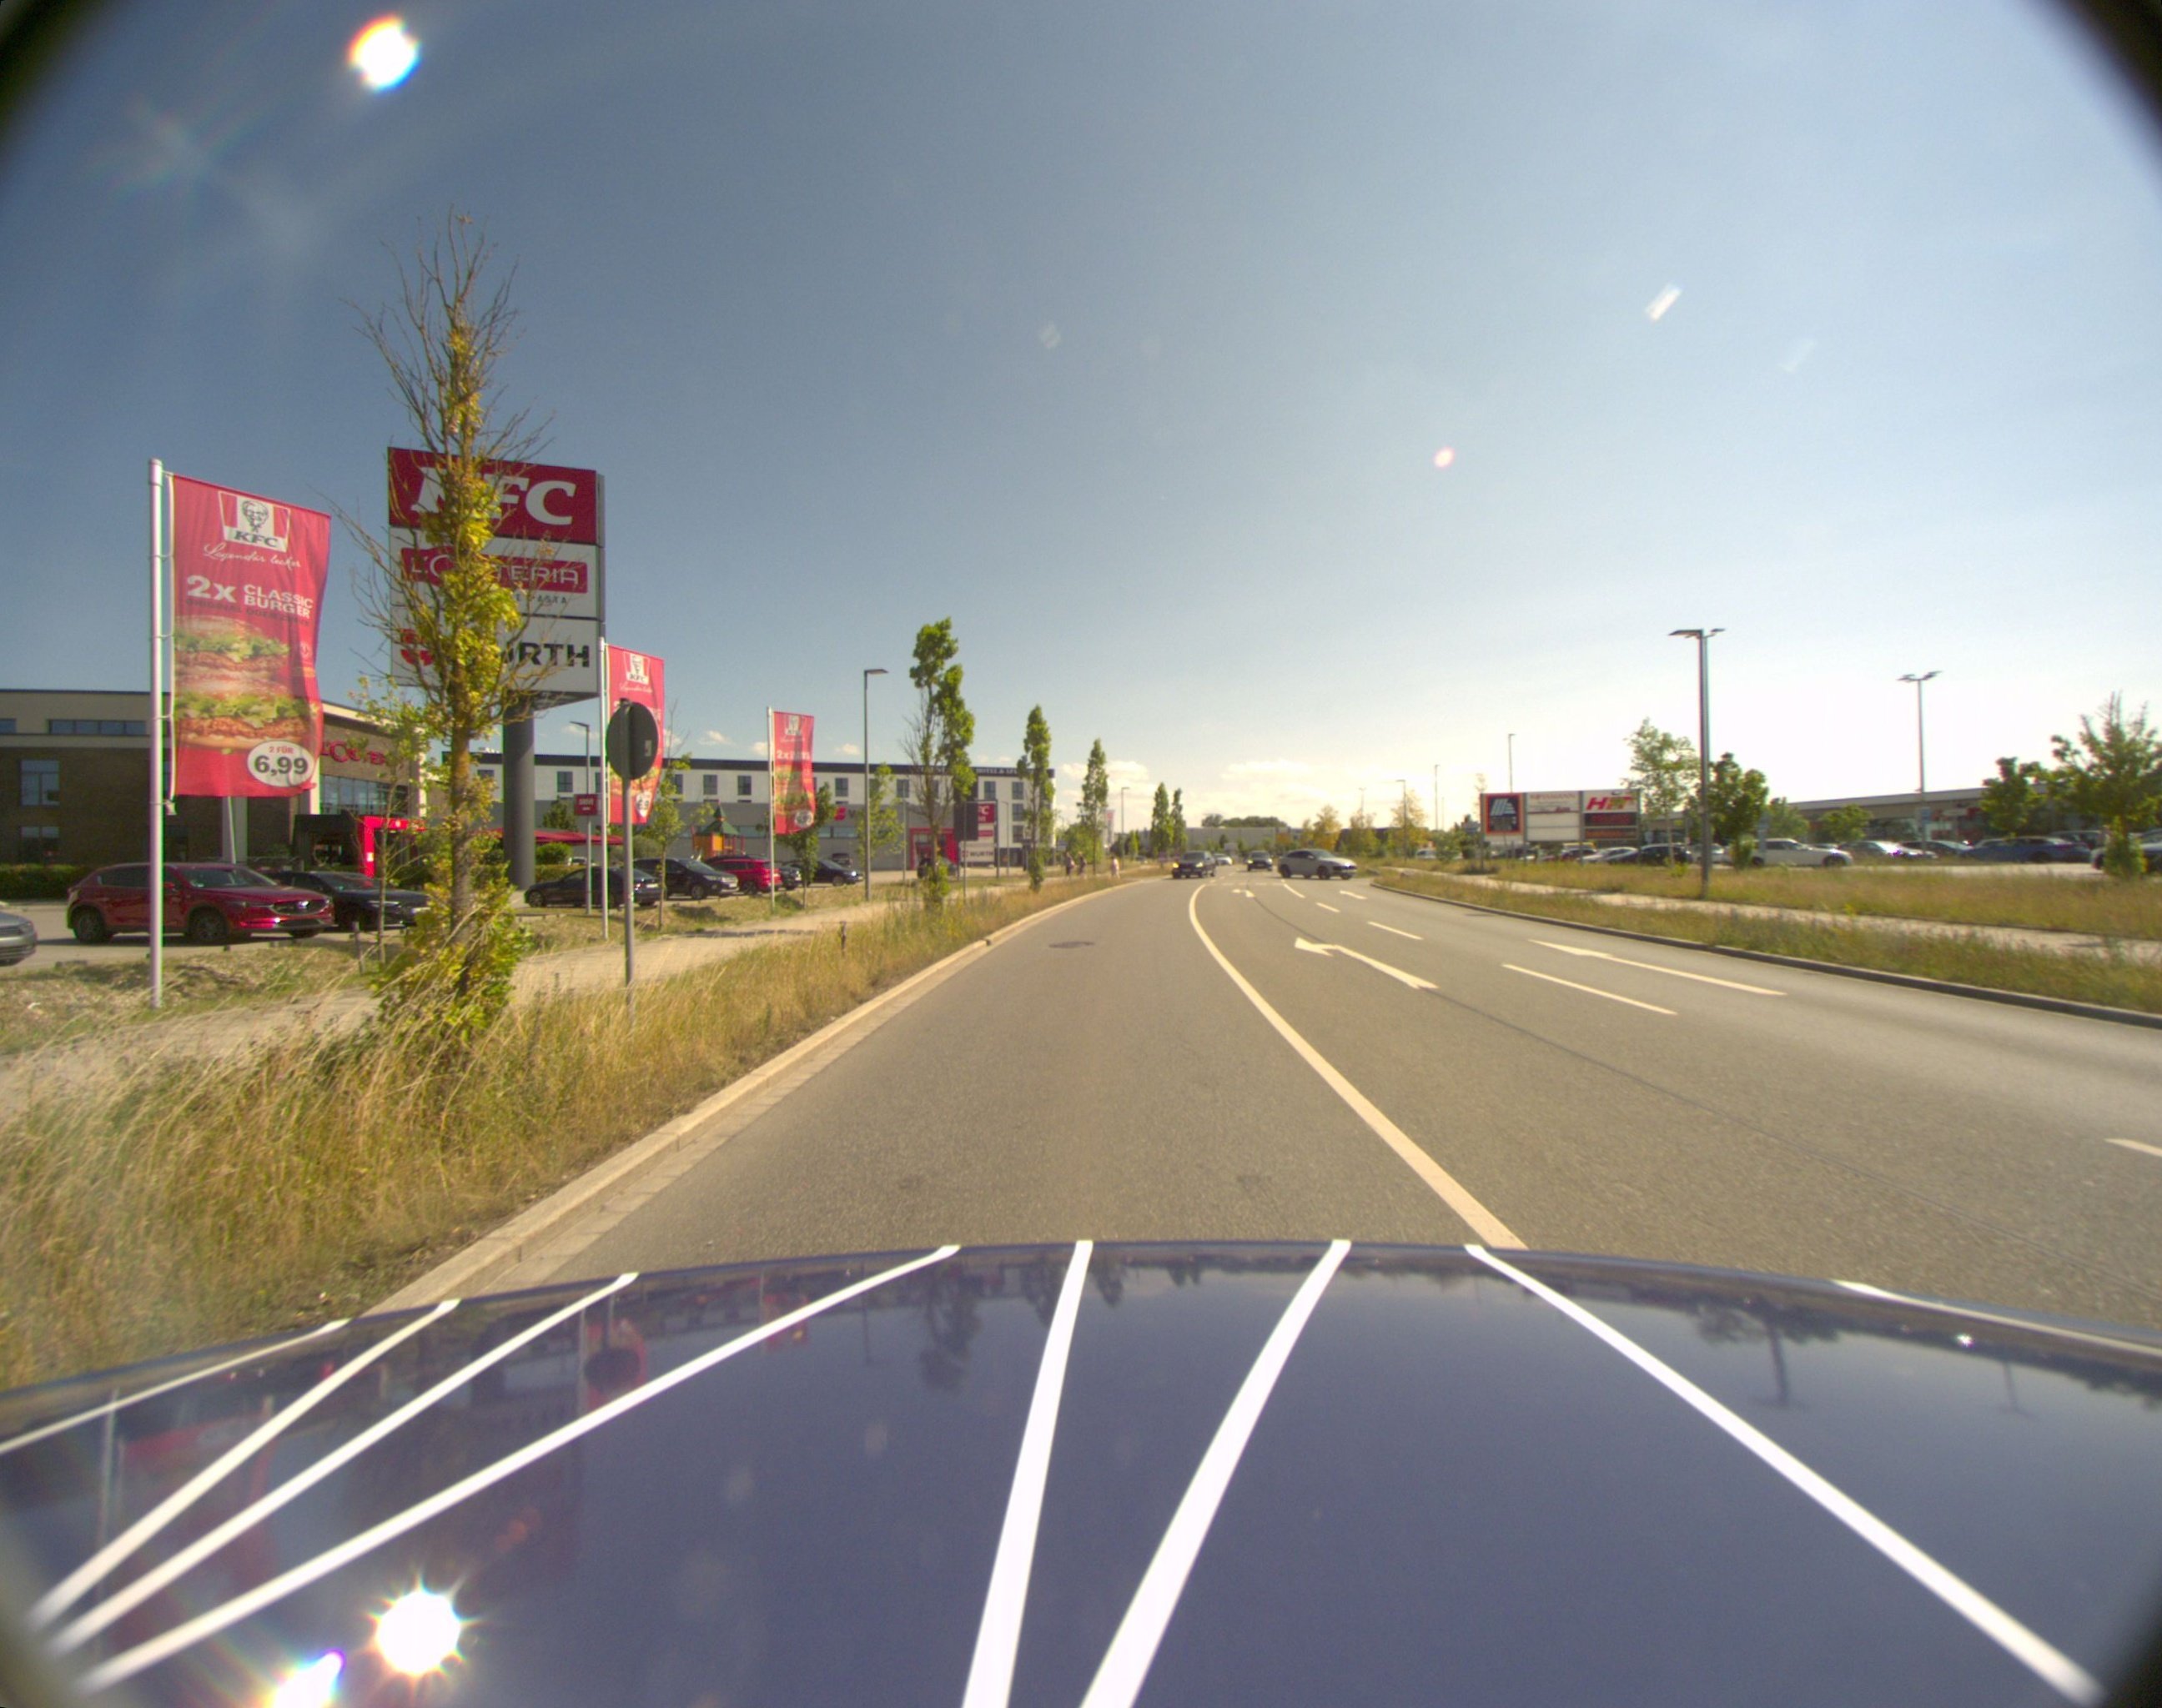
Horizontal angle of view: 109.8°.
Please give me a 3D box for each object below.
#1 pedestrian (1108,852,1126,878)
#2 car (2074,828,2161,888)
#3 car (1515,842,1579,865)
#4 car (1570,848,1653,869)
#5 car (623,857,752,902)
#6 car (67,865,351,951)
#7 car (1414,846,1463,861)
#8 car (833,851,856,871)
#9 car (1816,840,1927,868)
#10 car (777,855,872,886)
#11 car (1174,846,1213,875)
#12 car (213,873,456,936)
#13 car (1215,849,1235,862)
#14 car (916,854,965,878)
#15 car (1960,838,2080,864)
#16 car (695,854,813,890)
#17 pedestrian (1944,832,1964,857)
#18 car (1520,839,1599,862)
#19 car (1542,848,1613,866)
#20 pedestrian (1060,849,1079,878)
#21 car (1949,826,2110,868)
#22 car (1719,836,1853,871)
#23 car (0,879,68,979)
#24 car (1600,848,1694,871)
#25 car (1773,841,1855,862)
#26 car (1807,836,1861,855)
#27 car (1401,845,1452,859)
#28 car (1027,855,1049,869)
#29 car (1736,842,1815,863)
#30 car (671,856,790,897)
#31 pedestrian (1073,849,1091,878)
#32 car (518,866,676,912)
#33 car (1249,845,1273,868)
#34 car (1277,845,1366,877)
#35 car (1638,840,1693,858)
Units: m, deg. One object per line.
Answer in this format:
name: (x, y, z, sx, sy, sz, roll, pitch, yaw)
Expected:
pedestrian: (2.014, 0.615, 42.620, 0.794, 1.461, 0.950, -1, 0, 13)
car: (28.230, 0.058, 18.748, 4.584, 1.450, 1.839, -1, 0, 7)
car: (38.607, -0.002, 63.047, 4.151, 1.850, 1.934, -1, 0, 11)
car: (35.479, 0.285, 50.918, 4.150, 1.340, 1.938, -1, 0, 12)
car: (-15.799, 0.988, 30.608, 4.413, 1.724, 1.793, 0, 0, 10)
car: (-18.230, 1.075, 16.003, 4.162, 1.655, 1.870, 0, 0, 6)
car: (40.420, -0.027, 85.876, 4.599, 1.662, 2.001, -1, 0, 5)
car: (-22.327, 0.624, 71.824, 2.050, 1.805, 4.917, -1, 0, -17)
car: (46.303, 0.004, 44.637, 1.717, 1.507, 4.351, -1, 0, -8)
car: (-13.656, 0.862, 40.579, 4.414, 1.557, 1.996, 0, 0, 8)
car: (7.005, 0.445, 46.964, 1.898, 1.669, 4.472, -2, -2, 14)
car: (-18.087, 1.195, 18.545, 4.164, 1.441, 1.791, 0, 0, 0)
car: (17.438, 0.168, 92.130, 1.906, 1.502, 4.001, -1, 0, 4)
car: (-9.829, 0.810, 53.363, 1.782, 1.531, 4.173, -1, 0, 14)
car: (57.022, -0.158, 46.264, 1.717, 1.535, 4.351, -1, 0, -8)
car: (-15.811, 0.852, 36.845, 4.991, 1.724, 1.941, 0, 0, 8)
pedestrian: (63.766, -0.661, 55.503, 0.570, 1.813, 0.781, -1, 1, -7)
car: (42.574, -0.307, 67.746, 5.694, 1.953, 2.001, -1, 0, 4)
car: (37.979, 0.223, 58.197, 4.150, 1.340, 1.938, -1, 0, 12)
pedestrian: (-0.654, 0.527, 42.863, 0.810, 1.619, 0.867, -1, 1, 13)
car: (47.168, -0.309, 37.966, 1.717, 1.974, 4.831, -1, 0, -8)
car: (32.987, -0.002, 35.720, 4.215, 1.538, 1.921, -1, 0, 25)
car: (-18.573, 1.138, 11.349, 4.565, 1.481, 1.869, 0, 0, 2)
car: (34.329, 0.317, 46.163, 4.150, 1.340, 1.938, -1, 0, 12)
car: (55.883, -0.156, 58.038, 1.717, 1.562, 4.351, -1, 0, -8)
car: (73.712, -0.837, 74.416, 4.356, 1.797, 1.715, -1, 0, -13)
car: (41.301, -0.236, 90.974, 5.194, 1.662, 2.000, -1, 0, -1)
car: (-4.377, 0.814, 77.454, 1.516, 1.399, 4.002, -1, 0, 7)
car: (52.605, -0.076, 57.682, 1.717, 1.540, 4.351, -1, 0, -8)
car: (-15.426, 0.971, 33.577, 4.416, 1.724, 1.792, 0, 0, 3)
pedestrian: (0.078, 0.518, 42.642, 0.802, 1.620, 0.805, -1, 1, 13)
car: (-16.357, 1.145, 25.763, 4.414, 1.441, 1.792, 0, 0, 9)
car: (14.071, 0.194, 59.463, 1.754, 1.678, 4.386, -1, 0, 14)
car: (13.398, 0.409, 42.655, 2.118, 1.633, 4.769, -1, -2, -25)
car: (58.565, -0.443, 76.175, 1.717, 1.730, 4.581, -1, 0, -5)
